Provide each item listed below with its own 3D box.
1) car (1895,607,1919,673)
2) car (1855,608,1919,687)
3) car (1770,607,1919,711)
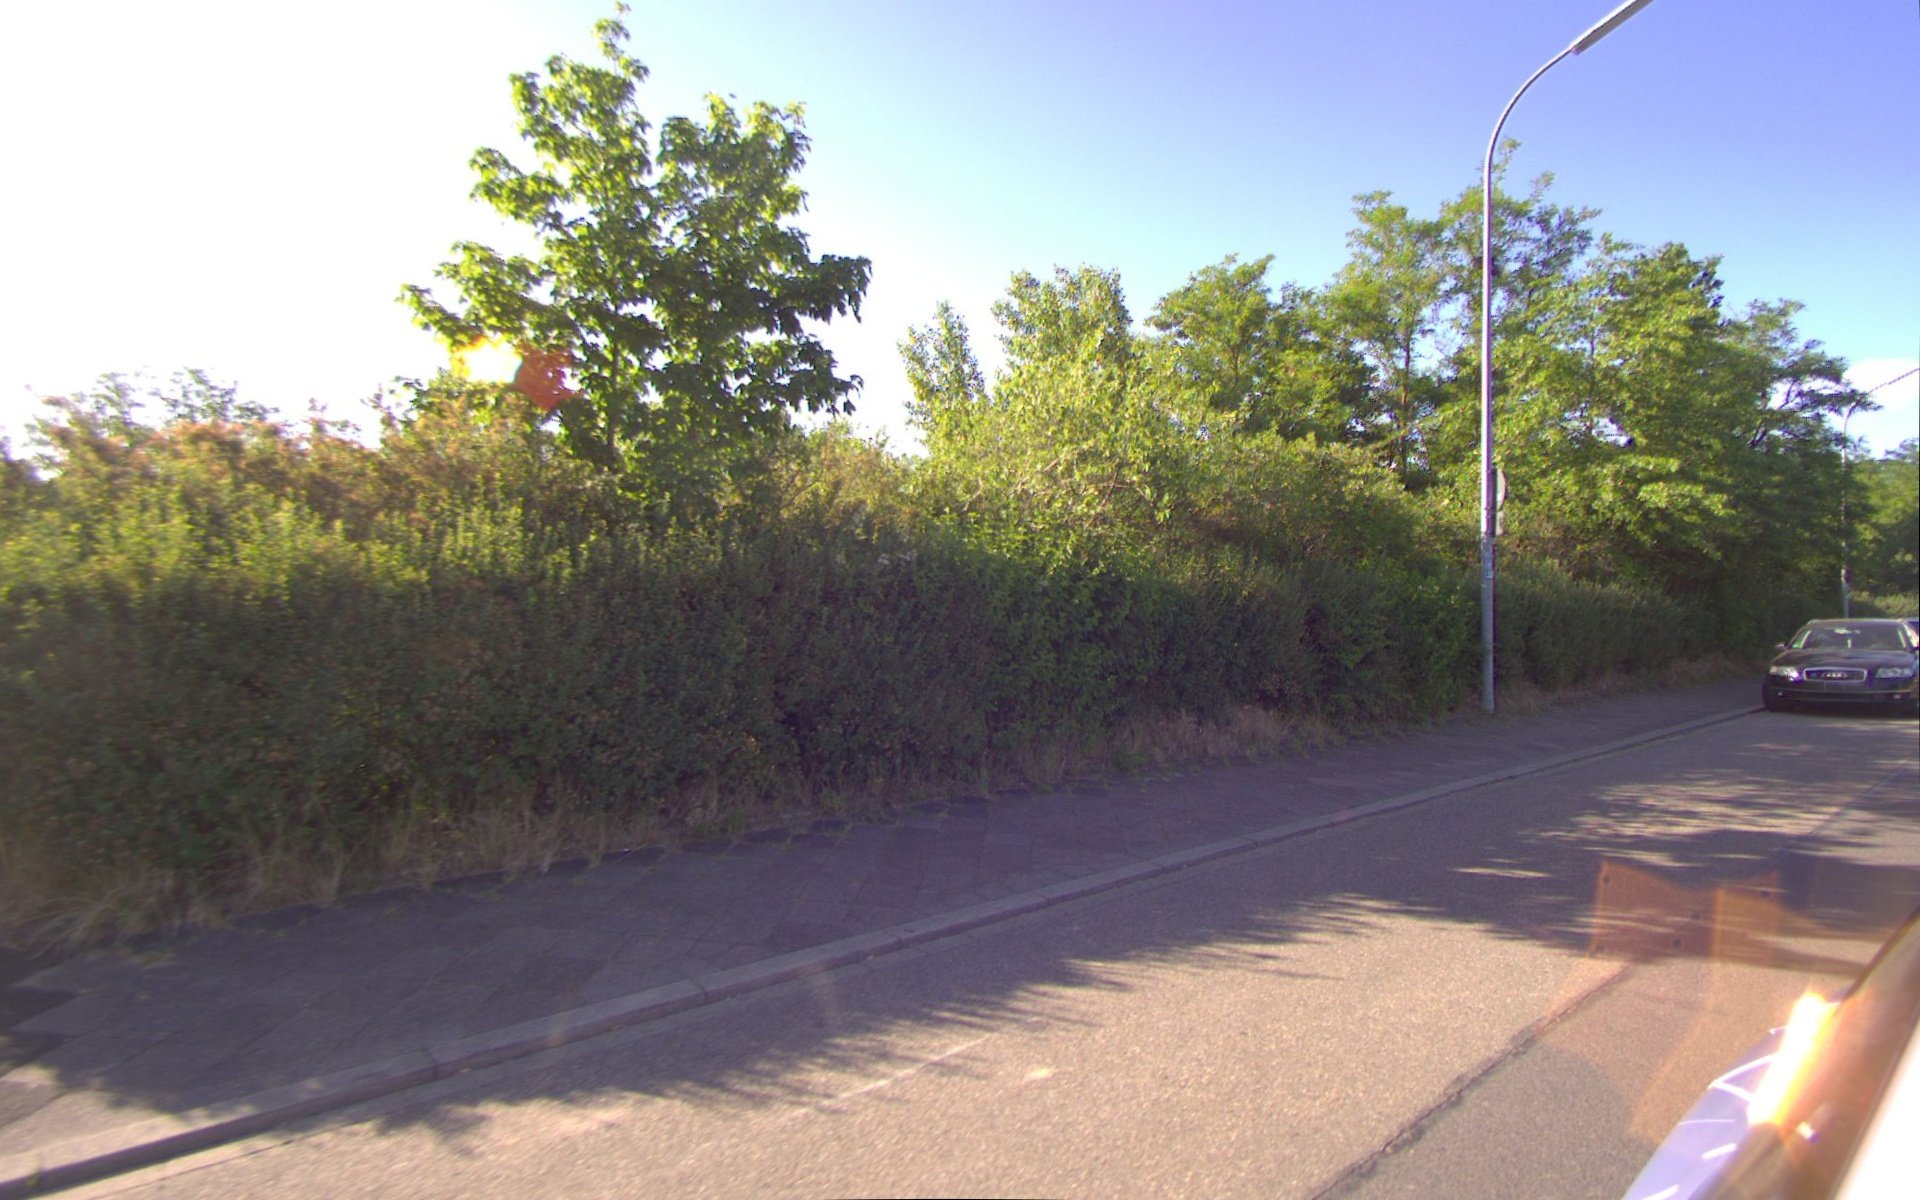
[{"bbox_3d":[23.828,0.902,24.249,3.772,1.506,1.657,0,-3,-41],"label":"car"},{"bbox_3d":[19.521,0.894,20.376,4.575,1.463,1.657,0,-3,-41],"label":"car"},{"bbox_3d":[14.517,0.859,16.125,4.576,1.432,1.755,0,-3,-42],"label":"car"}]
